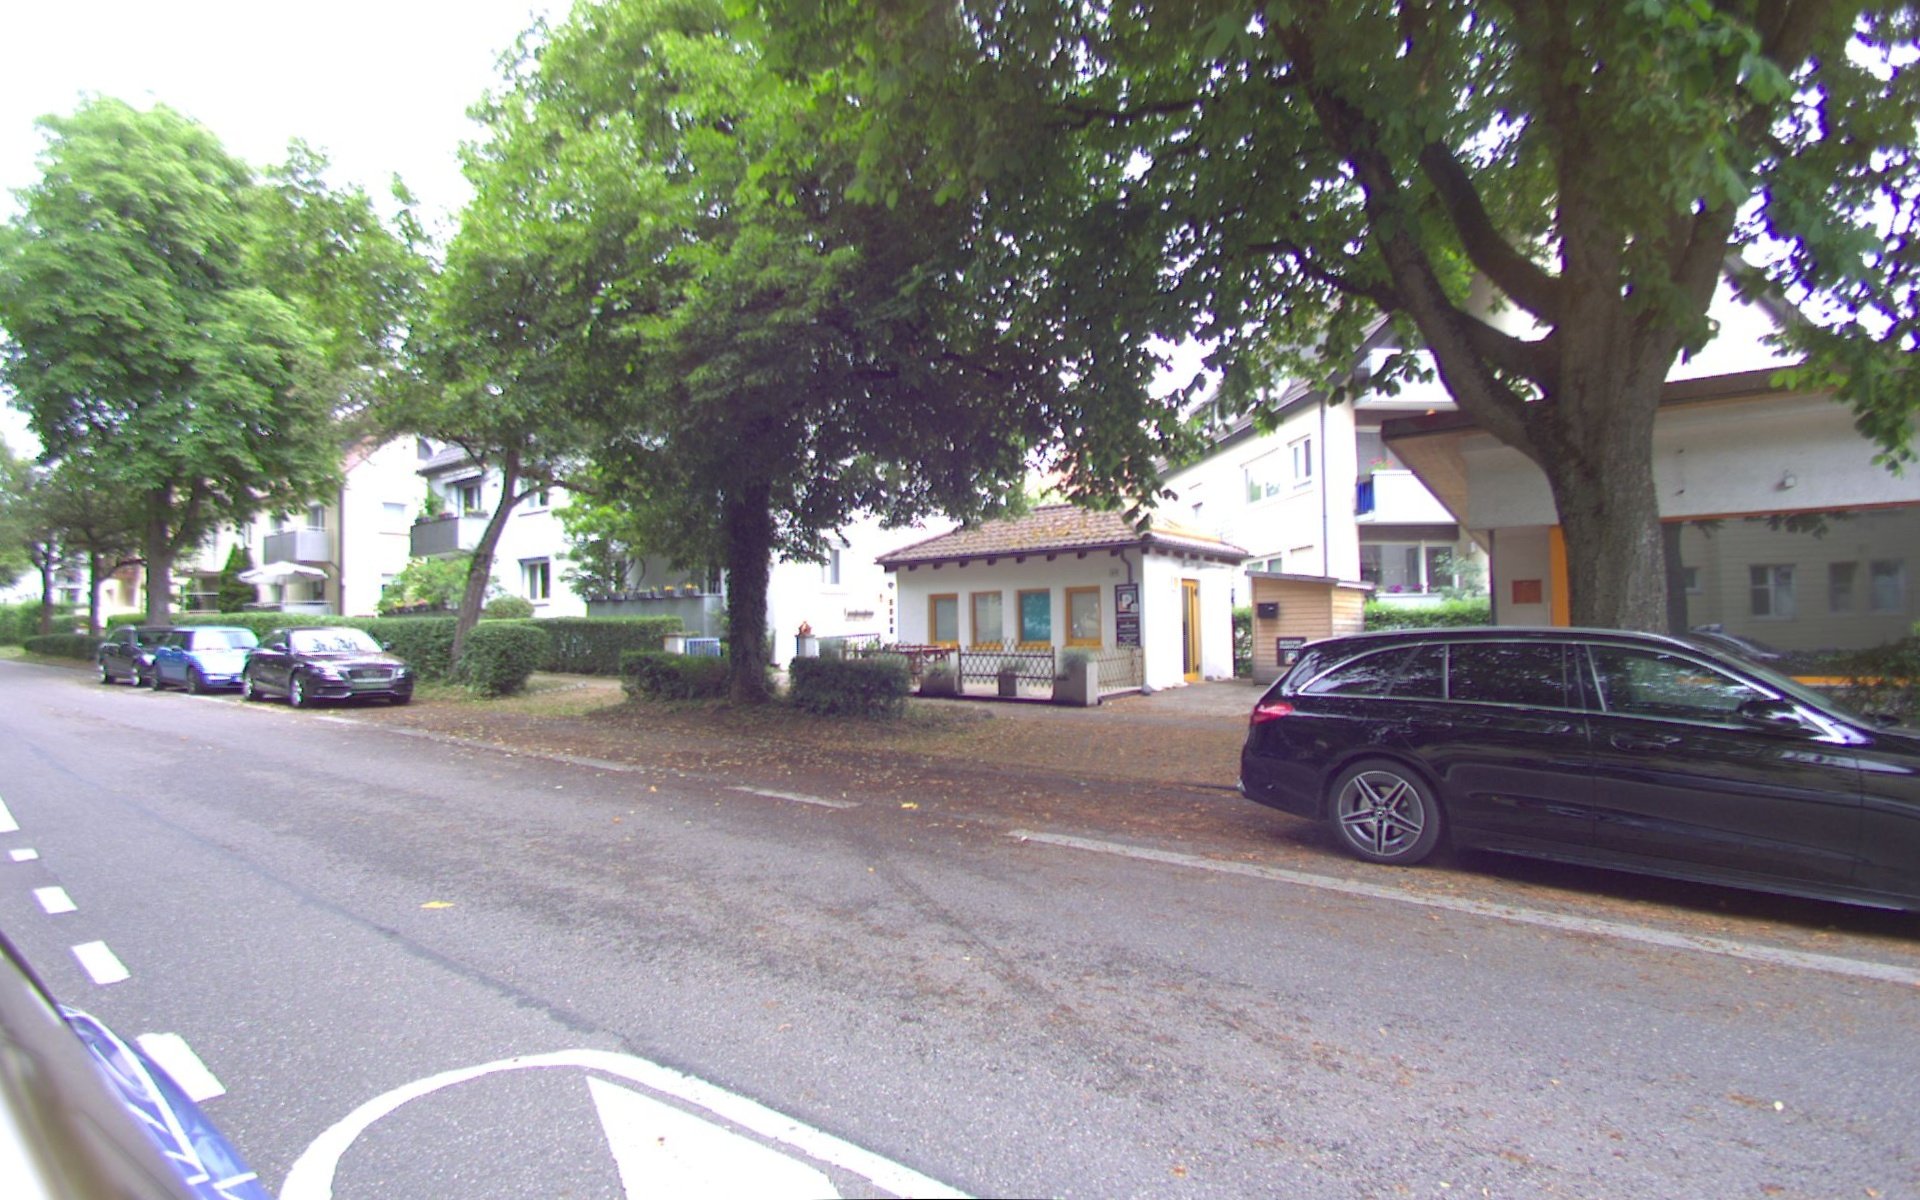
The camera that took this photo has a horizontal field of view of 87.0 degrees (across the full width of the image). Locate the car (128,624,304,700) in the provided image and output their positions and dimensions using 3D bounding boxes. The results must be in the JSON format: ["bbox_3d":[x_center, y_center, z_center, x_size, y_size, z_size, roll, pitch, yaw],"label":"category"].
[{"bbox_3d":[-16.417,1.314,22.264,4.558,1.512,1.866,-2,-3,37],"label":"car"}]

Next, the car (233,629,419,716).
[{"bbox_3d":[-11.683,1.253,18.549,4.169,1.414,1.713,-2,-3,41],"label":"car"}]

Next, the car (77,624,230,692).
[{"bbox_3d":[-20.138,1.394,25.215,4.558,1.545,1.866,-2,-3,37],"label":"car"}]

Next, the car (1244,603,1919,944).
[{"bbox_3d":[4.233,0.821,5.830,4.611,1.511,1.973,-2,-3,40],"label":"car"}]
